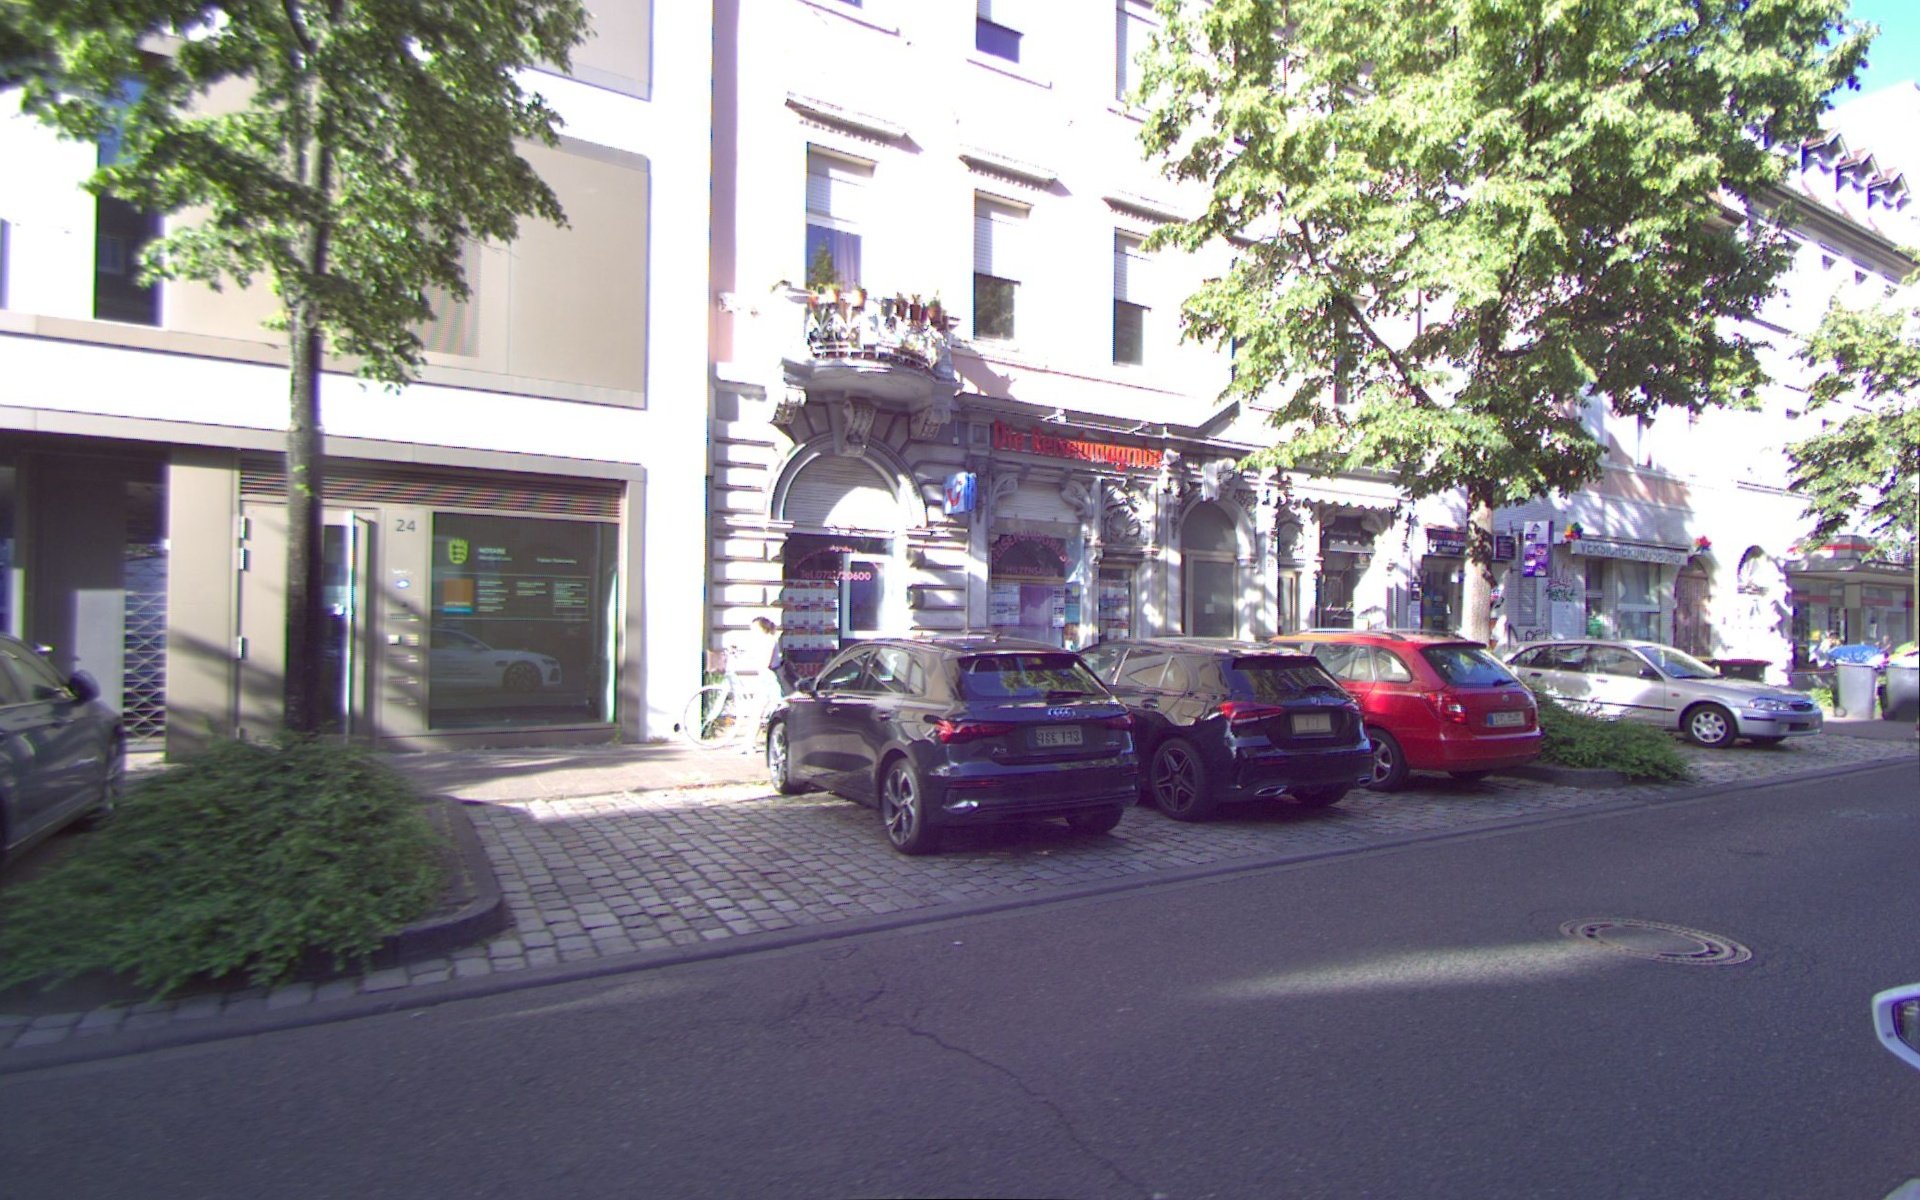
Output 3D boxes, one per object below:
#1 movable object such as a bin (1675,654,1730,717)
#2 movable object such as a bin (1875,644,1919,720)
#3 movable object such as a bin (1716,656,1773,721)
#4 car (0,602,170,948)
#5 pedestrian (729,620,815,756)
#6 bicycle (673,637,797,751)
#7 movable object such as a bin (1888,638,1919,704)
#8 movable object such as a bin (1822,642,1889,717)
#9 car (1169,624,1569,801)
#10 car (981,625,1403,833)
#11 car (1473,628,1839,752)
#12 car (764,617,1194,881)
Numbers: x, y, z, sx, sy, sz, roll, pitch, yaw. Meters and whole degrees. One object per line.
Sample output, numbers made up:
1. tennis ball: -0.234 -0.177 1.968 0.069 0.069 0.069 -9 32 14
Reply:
1. movable object such as a bin: 13.331 1.522 18.033 0.796 1.083 0.528 1 -2 -32
2. movable object such as a bin: 17.312 1.486 18.380 0.796 1.359 0.631 1 -2 -31
3. movable object such as a bin: 13.671 1.534 17.510 0.796 1.083 0.528 1 -2 -32
4. car: -5.623 0.774 5.128 1.769 1.478 4.472 1 0 -29
5. pedestrian: -2.069 0.942 11.037 0.814 1.427 0.506 1 0 -26
6. bicycle: -2.557 1.044 11.419 1.281 1.208 0.455 1 1 -27
7. movable object such as a bin: 22.294 1.630 23.170 1.130 1.491 1.037 1 -2 -31
8. movable object such as a bin: 16.938 1.486 19.002 0.796 1.359 0.751 1 -2 -31
9. car: 4.160 1.032 10.795 1.719 1.488 3.730 1 -1 -30
10. car: 1.904 0.990 9.383 1.767 1.448 3.825 1 -1 -28
11. car: 10.098 1.208 14.949 1.718 1.488 4.187 1 -1 -28
12. car: -0.126 0.915 8.008 1.749 1.505 3.903 1 -1 -28
